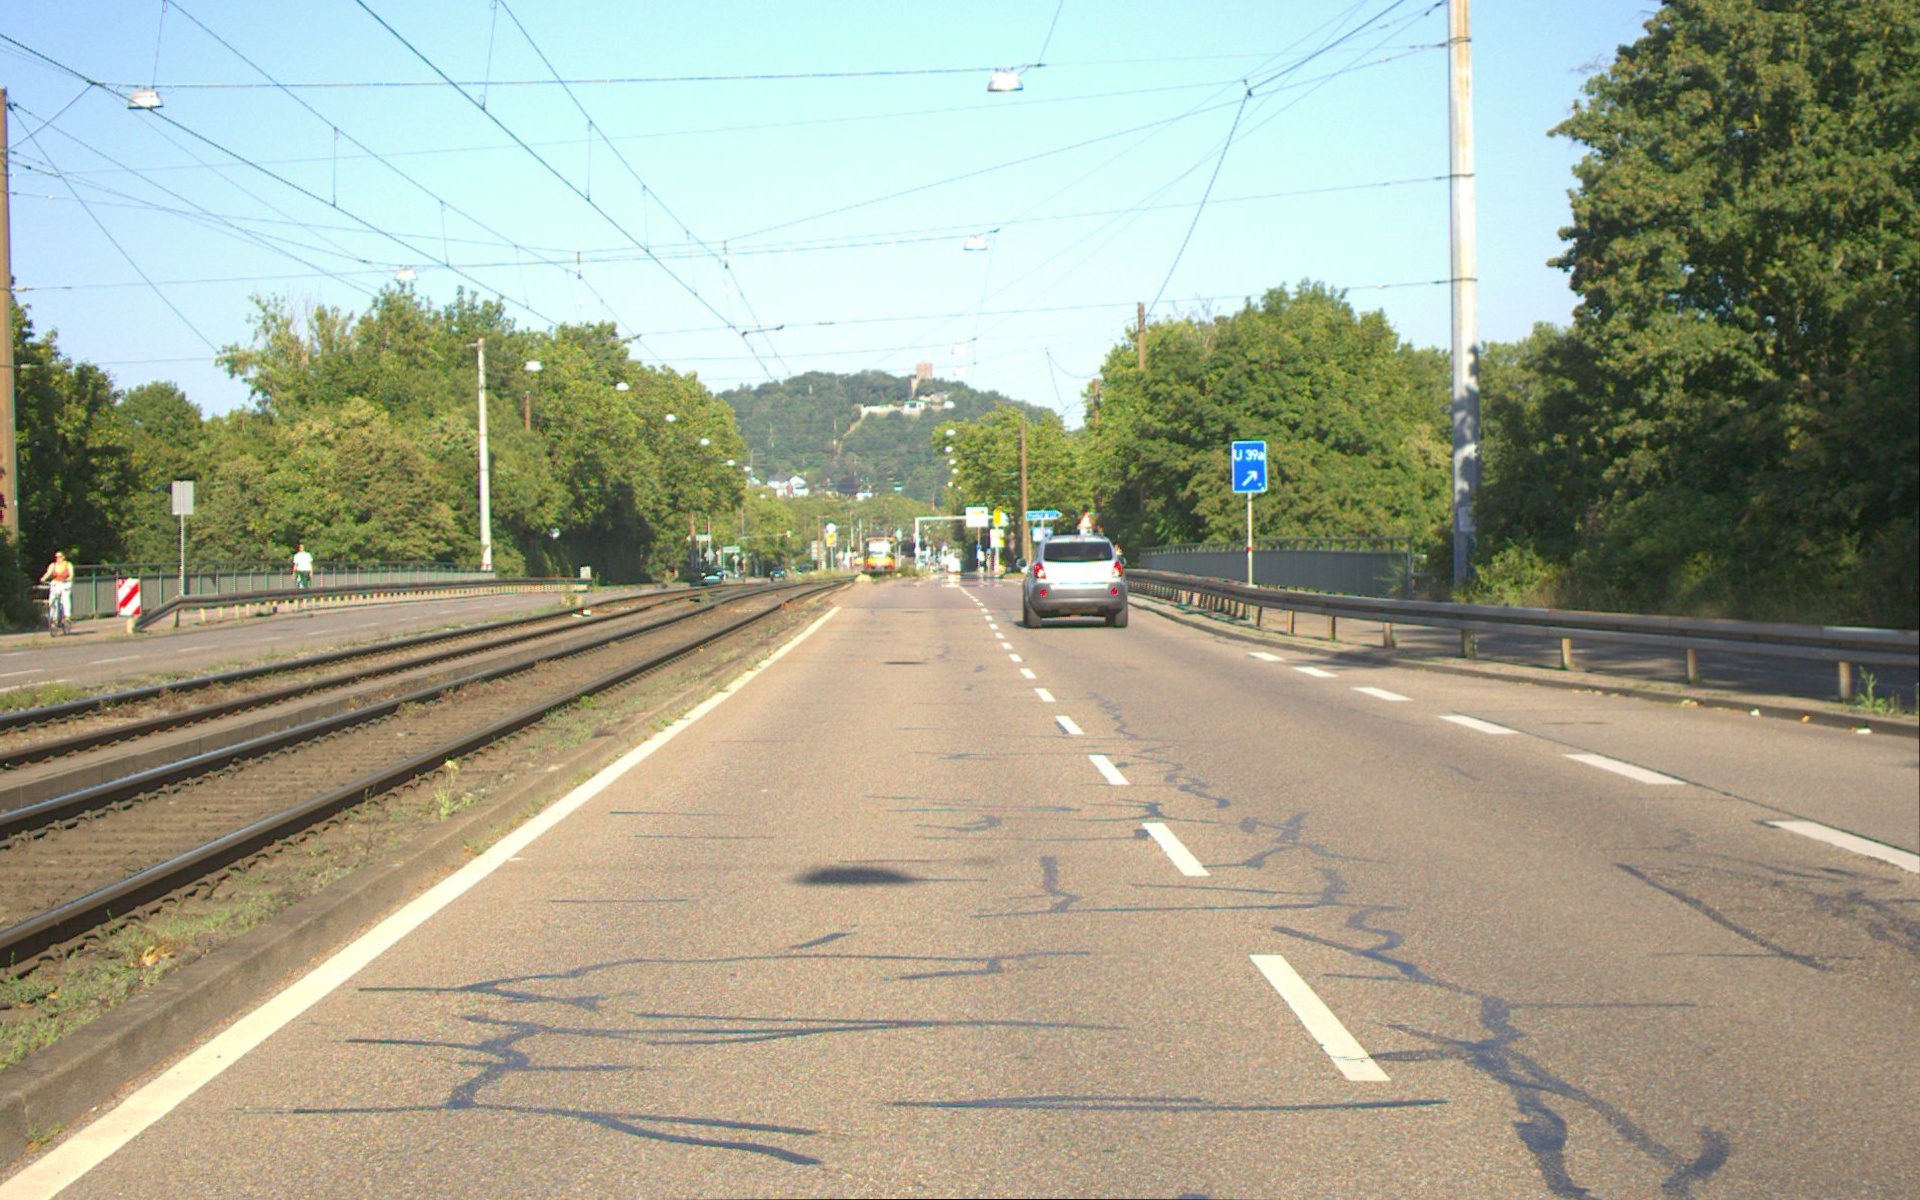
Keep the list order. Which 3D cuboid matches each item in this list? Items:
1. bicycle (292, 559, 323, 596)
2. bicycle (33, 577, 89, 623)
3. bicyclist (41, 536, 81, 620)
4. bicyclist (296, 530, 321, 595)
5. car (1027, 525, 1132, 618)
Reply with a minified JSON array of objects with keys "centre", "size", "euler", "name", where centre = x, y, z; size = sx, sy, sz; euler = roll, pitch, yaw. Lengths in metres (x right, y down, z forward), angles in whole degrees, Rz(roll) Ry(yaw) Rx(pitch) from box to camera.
[{"centre":[-18.834,-0.668,99.311],"size":[0.540,1.040,1.925],"euler":[1,1,-1],"name":"bicycle"},{"centre":[-18.271,0.000,69.887],"size":[0.507,0.889,2.027],"euler":[1,1,2],"name":"bicycle"},{"centre":[-18.266,-0.459,69.871],"size":[0.507,1.681,0.919],"euler":[1,1,2],"name":"bicyclist"},{"centre":[-18.825,-1.095,99.390],"size":[0.540,1.856,0.875],"euler":[1,1,-1],"name":"bicyclist"},{"centre":[2.232,-0.546,64.404],"size":[1.888,1.688,4.256],"euler":[0,1,2],"name":"car"}]
